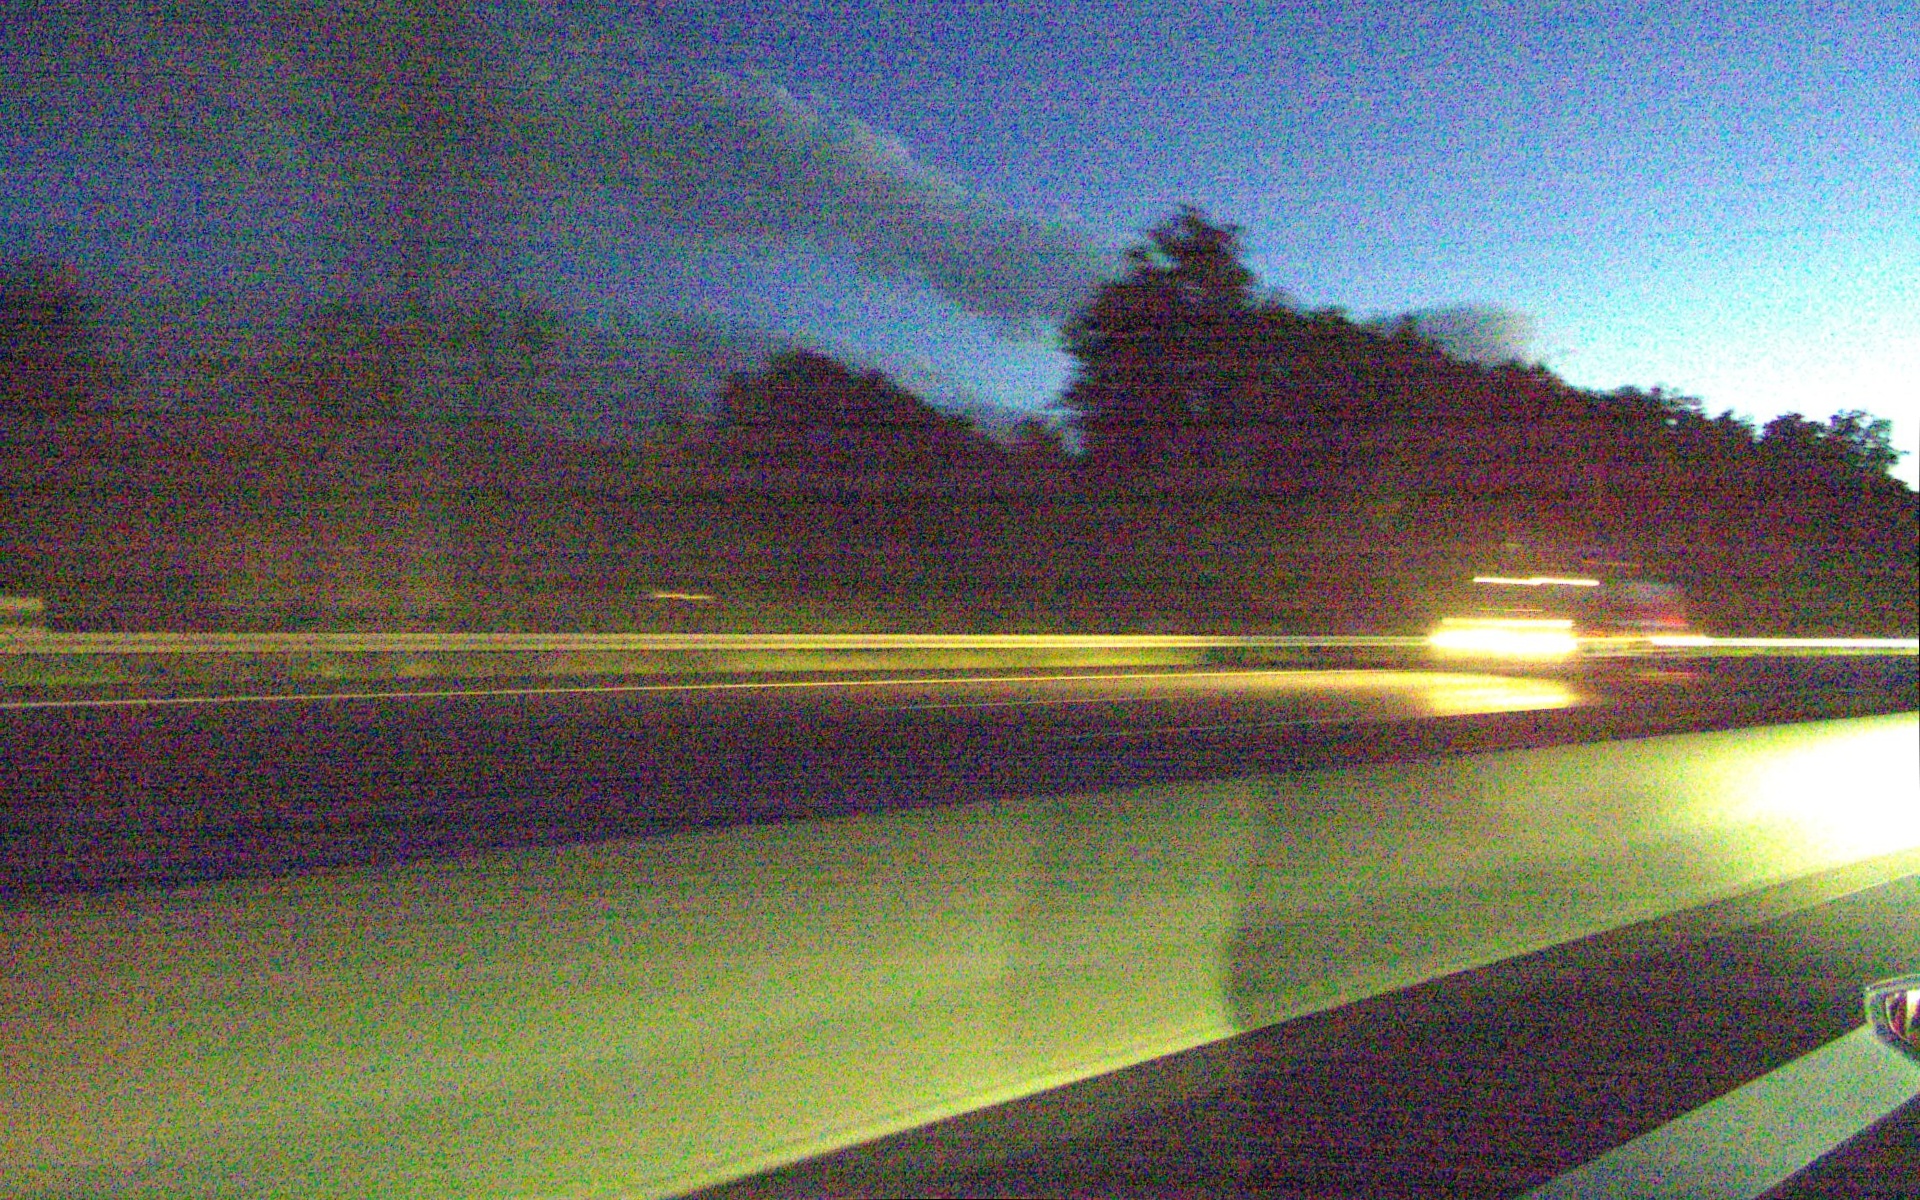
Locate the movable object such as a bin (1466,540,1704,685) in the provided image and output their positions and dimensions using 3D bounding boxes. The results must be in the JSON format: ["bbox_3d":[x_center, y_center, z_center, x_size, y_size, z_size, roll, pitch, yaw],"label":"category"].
[{"bbox_3d":[16.766,0.386,26.772,7.349,3.462,2.197,1,0,-30],"label":"movable object such as a bin"}]
